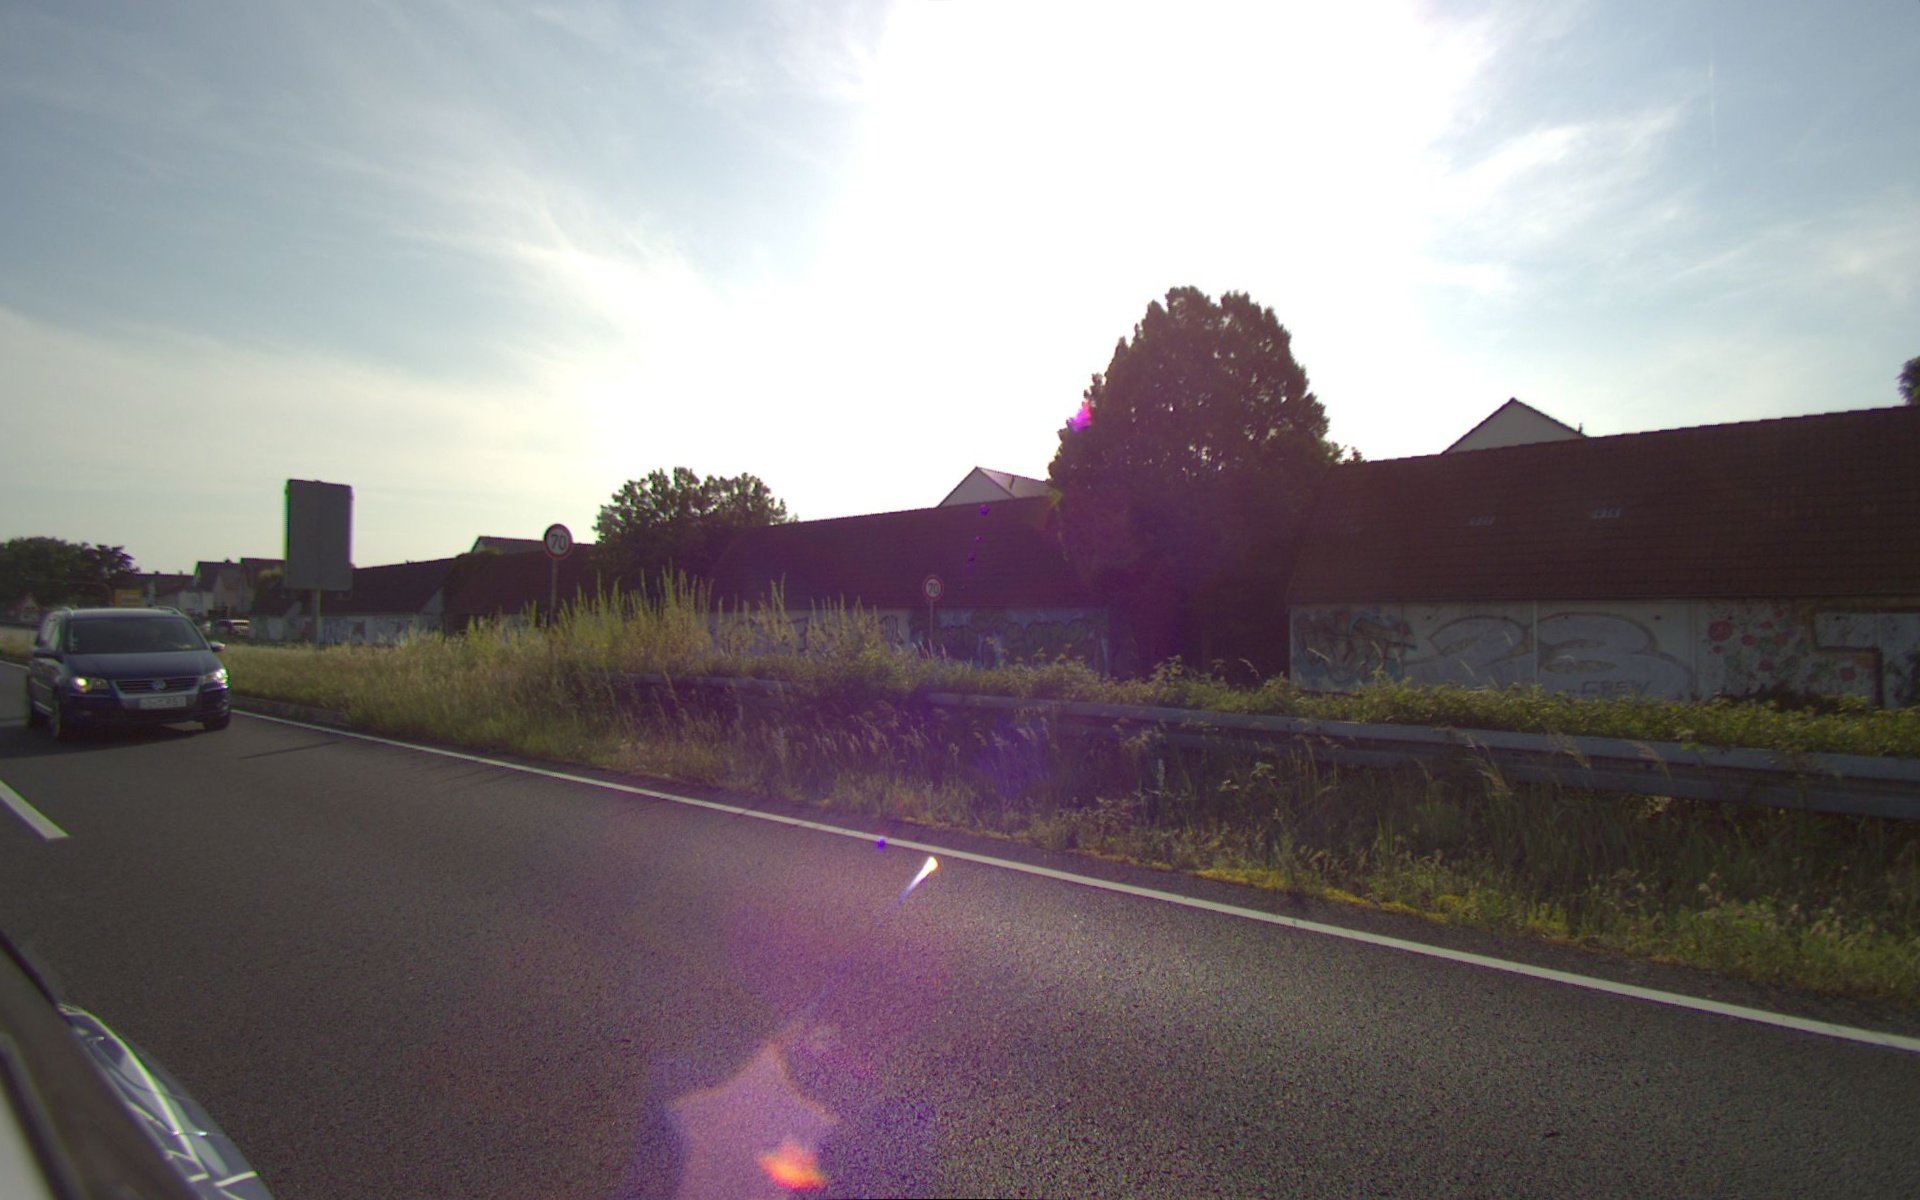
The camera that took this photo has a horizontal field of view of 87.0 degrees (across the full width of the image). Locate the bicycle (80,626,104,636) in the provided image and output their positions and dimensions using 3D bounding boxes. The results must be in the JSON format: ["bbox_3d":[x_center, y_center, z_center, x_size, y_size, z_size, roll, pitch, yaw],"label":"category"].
[{"bbox_3d":[-105.156,3.742,122.606,2.128,1.201,0.905,3,-2,-40],"label":"bicycle"}]

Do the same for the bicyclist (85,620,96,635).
[{"bbox_3d":[-105.287,3.292,122.534,0.844,1.800,0.848,5,-3,-40],"label":"bicyclist"}]

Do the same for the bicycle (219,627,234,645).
[{"bbox_3d":[-77.636,3.791,107.094,2.606,1.762,0.745,0,0,42],"label":"bicycle"}]

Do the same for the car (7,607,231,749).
[{"bbox_3d":[-11.675,0.913,13.923,4.681,1.633,1.753,0,-1,43],"label":"car"}]

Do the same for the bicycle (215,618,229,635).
[{"bbox_3d":[-79.259,2.826,108.666,2.606,1.762,0.745,0,0,42],"label":"bicycle"}]
